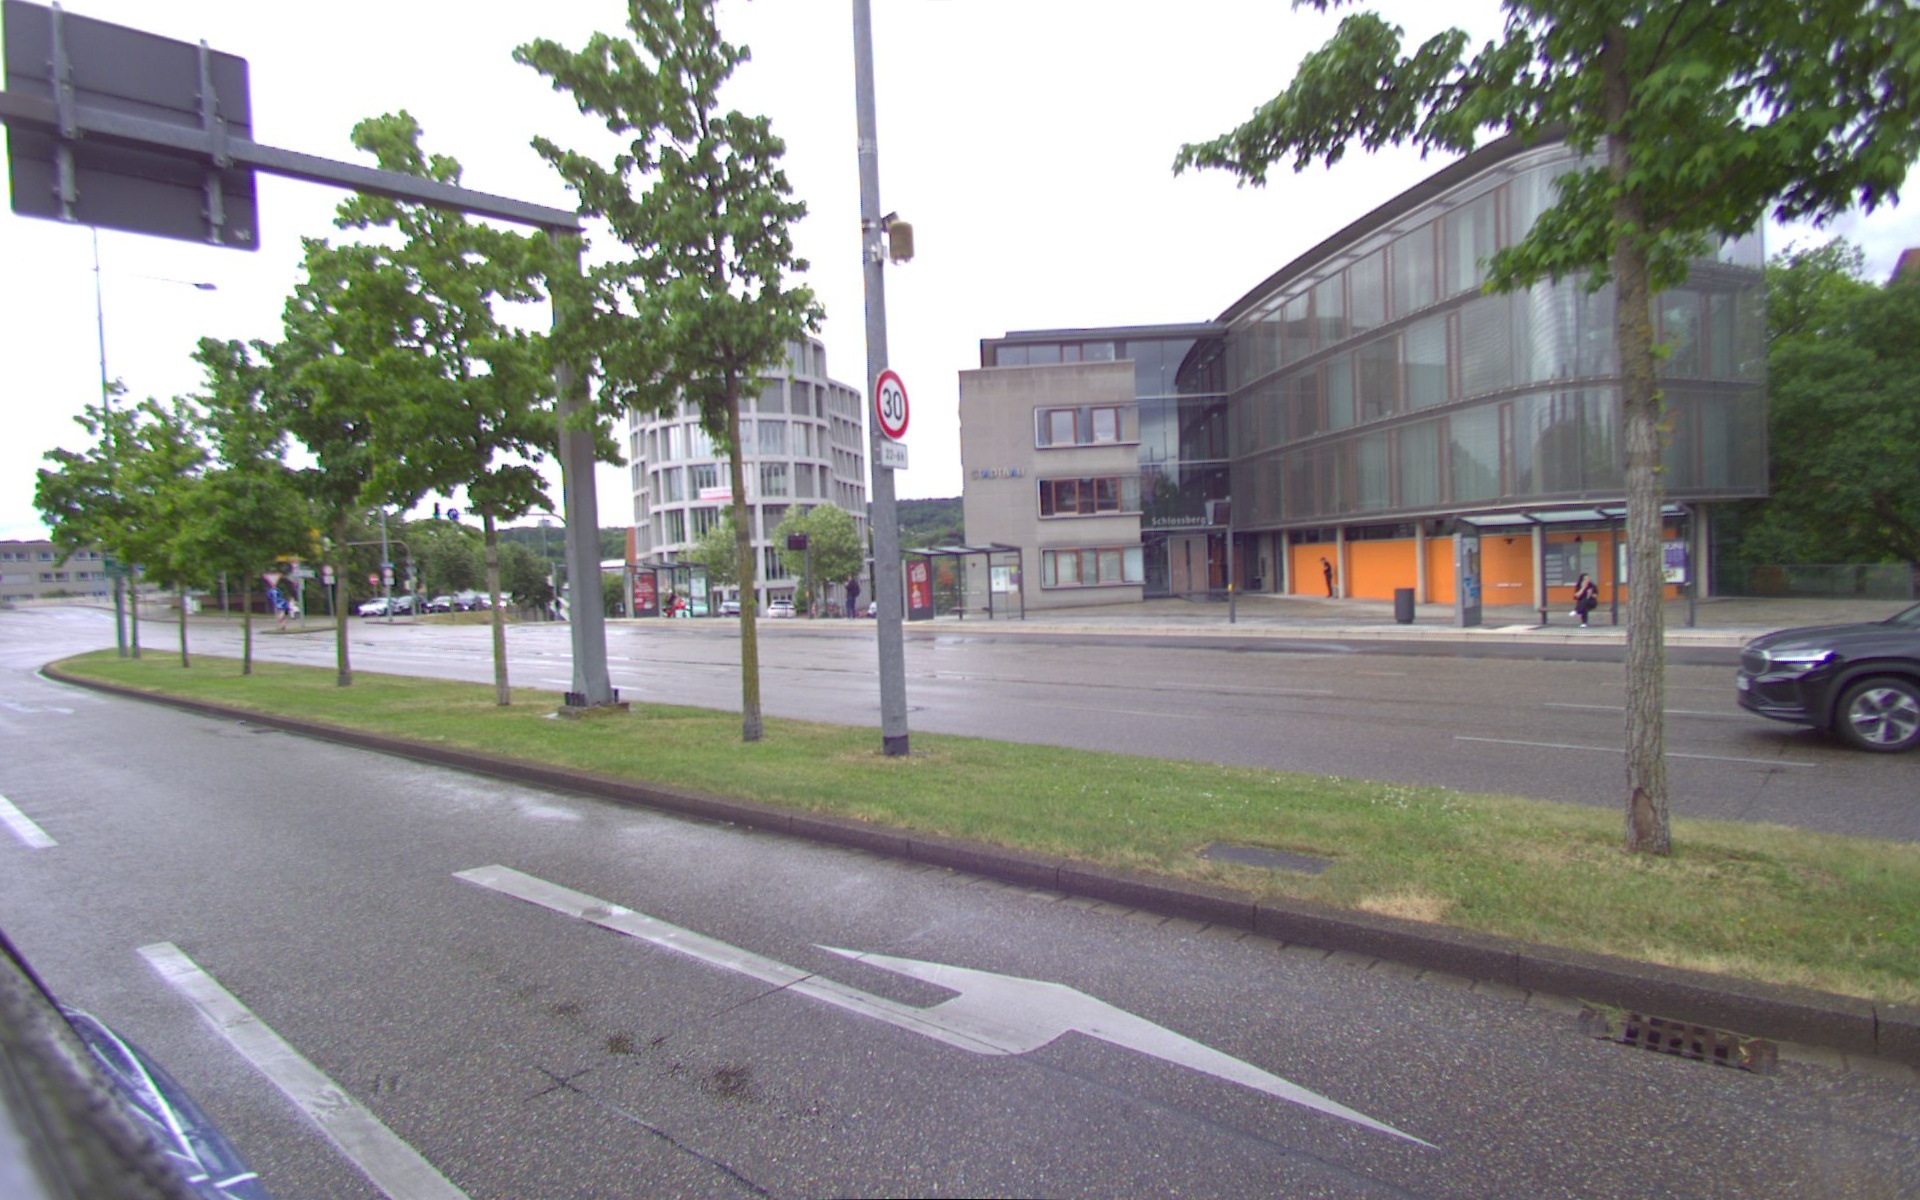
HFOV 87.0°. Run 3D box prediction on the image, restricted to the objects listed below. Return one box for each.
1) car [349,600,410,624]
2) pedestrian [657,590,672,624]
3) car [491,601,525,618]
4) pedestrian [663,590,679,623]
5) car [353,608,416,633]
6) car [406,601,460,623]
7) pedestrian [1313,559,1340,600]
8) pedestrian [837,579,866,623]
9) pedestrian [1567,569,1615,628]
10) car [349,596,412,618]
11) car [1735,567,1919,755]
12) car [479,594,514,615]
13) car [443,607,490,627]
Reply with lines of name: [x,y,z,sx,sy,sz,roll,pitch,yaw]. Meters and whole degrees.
car: [-46.544,0.942,81.267,2.164,1.725,4.919,-1,0,-2]
pedestrian: [-14.701,0.351,50.329,0.501,1.647,0.497,-1,0,41]
car: [-47.600,0.997,106.495,2.161,1.725,4.926,-2,0,-38]
pedestrian: [-14.530,0.346,50.897,0.535,1.647,0.514,-1,0,41]
car: [-43.490,1.530,76.595,2.164,1.725,4.919,-1,0,-3]
car: [-44.227,0.984,85.067,2.164,1.725,4.919,-1,0,-3]
pedestrian: [15.160,-0.830,41.902,0.697,1.666,0.852,-1,0,-6]
pedestrian: [-4.413,0.040,41.162,0.964,1.773,0.783,-1,0,12]
pedestrian: [14.632,-0.039,23.471,0.790,1.334,0.793,-1,0,42]
car: [-57.596,0.646,100.702,4.963,2.029,2.311,-1,0,0]
car: [10.005,0.494,9.070,4.579,1.652,1.810,-1,0,29]
car: [-45.741,0.475,100.017,1.969,2.029,4.005,-1,-1,-6]
car: [-45.244,1.541,92.919,2.164,1.725,4.920,-1,0,-3]
